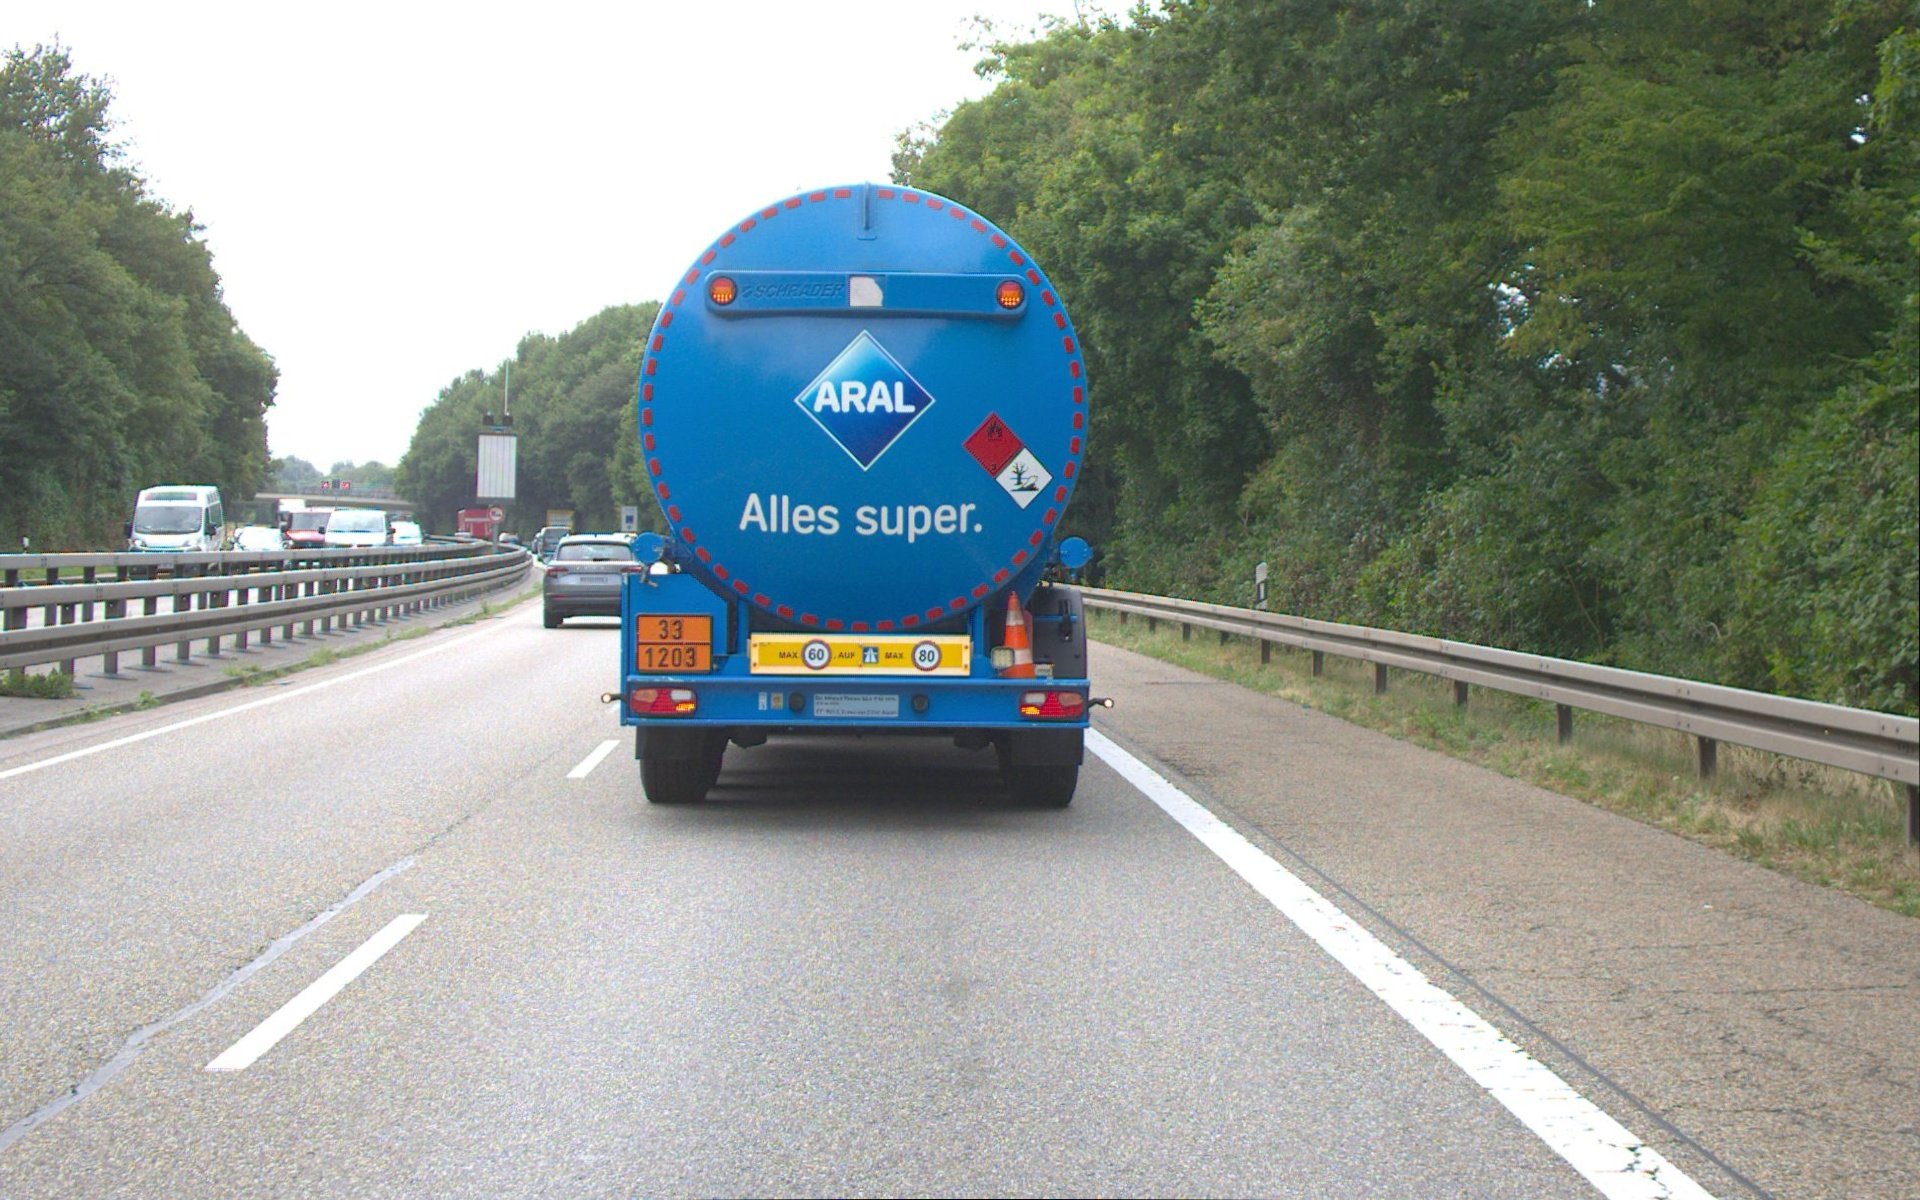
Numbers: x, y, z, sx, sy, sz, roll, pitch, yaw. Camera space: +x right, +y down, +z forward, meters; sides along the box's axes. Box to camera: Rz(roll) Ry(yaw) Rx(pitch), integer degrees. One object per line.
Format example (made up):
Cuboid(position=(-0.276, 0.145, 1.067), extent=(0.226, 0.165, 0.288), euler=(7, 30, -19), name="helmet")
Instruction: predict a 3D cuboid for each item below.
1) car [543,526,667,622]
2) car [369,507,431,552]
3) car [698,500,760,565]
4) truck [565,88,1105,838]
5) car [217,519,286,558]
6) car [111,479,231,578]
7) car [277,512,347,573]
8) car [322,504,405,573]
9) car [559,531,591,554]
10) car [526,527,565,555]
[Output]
Cuboid(position=(-6.152, -0.458, 59.910), extent=(1.826, 1.604, 4.168), euler=(0, 1, -1), name="car")
Cuboid(position=(-19.823, -2.491, 121.737), extent=(1.781, 1.558, 4.015), euler=(0, 1, -4), name="car")
Cuboid(position=(-8.132, -2.366, 121.284), extent=(1.993, 2.237, 4.000), euler=(0, 1, -2), name="car")
Cuboid(position=(-0.615, -0.771, 21.451), extent=(2.755, 3.833, 7.688), euler=(0, 1, 0), name="truck")
Cuboid(position=(-23.866, -2.049, 115.897), extent=(1.774, 1.292, 4.108), euler=(0, 1, -4), name="car")
Cuboid(position=(-21.519, -1.933, 93.944), extent=(2.311, 2.602, 5.554), euler=(0, 1, -3), name="car")
Cuboid(position=(-24.511, -2.158, 130.178), extent=(2.066, 2.248, 5.376), euler=(0, 1, -5), name="car")
Cuboid(position=(-17.442, -1.789, 100.727), extent=(1.821, 1.976, 5.058), euler=(0, 1, -3), name="car")
Cuboid(position=(-26.086, -3.903, 232.739), extent=(1.993, 1.547, 4.001), euler=(0, 1, -9), name="car")
Cuboid(position=(-23.468, -3.344, 194.412), extent=(1.993, 1.547, 4.001), euler=(0, 1, -10), name="car")
